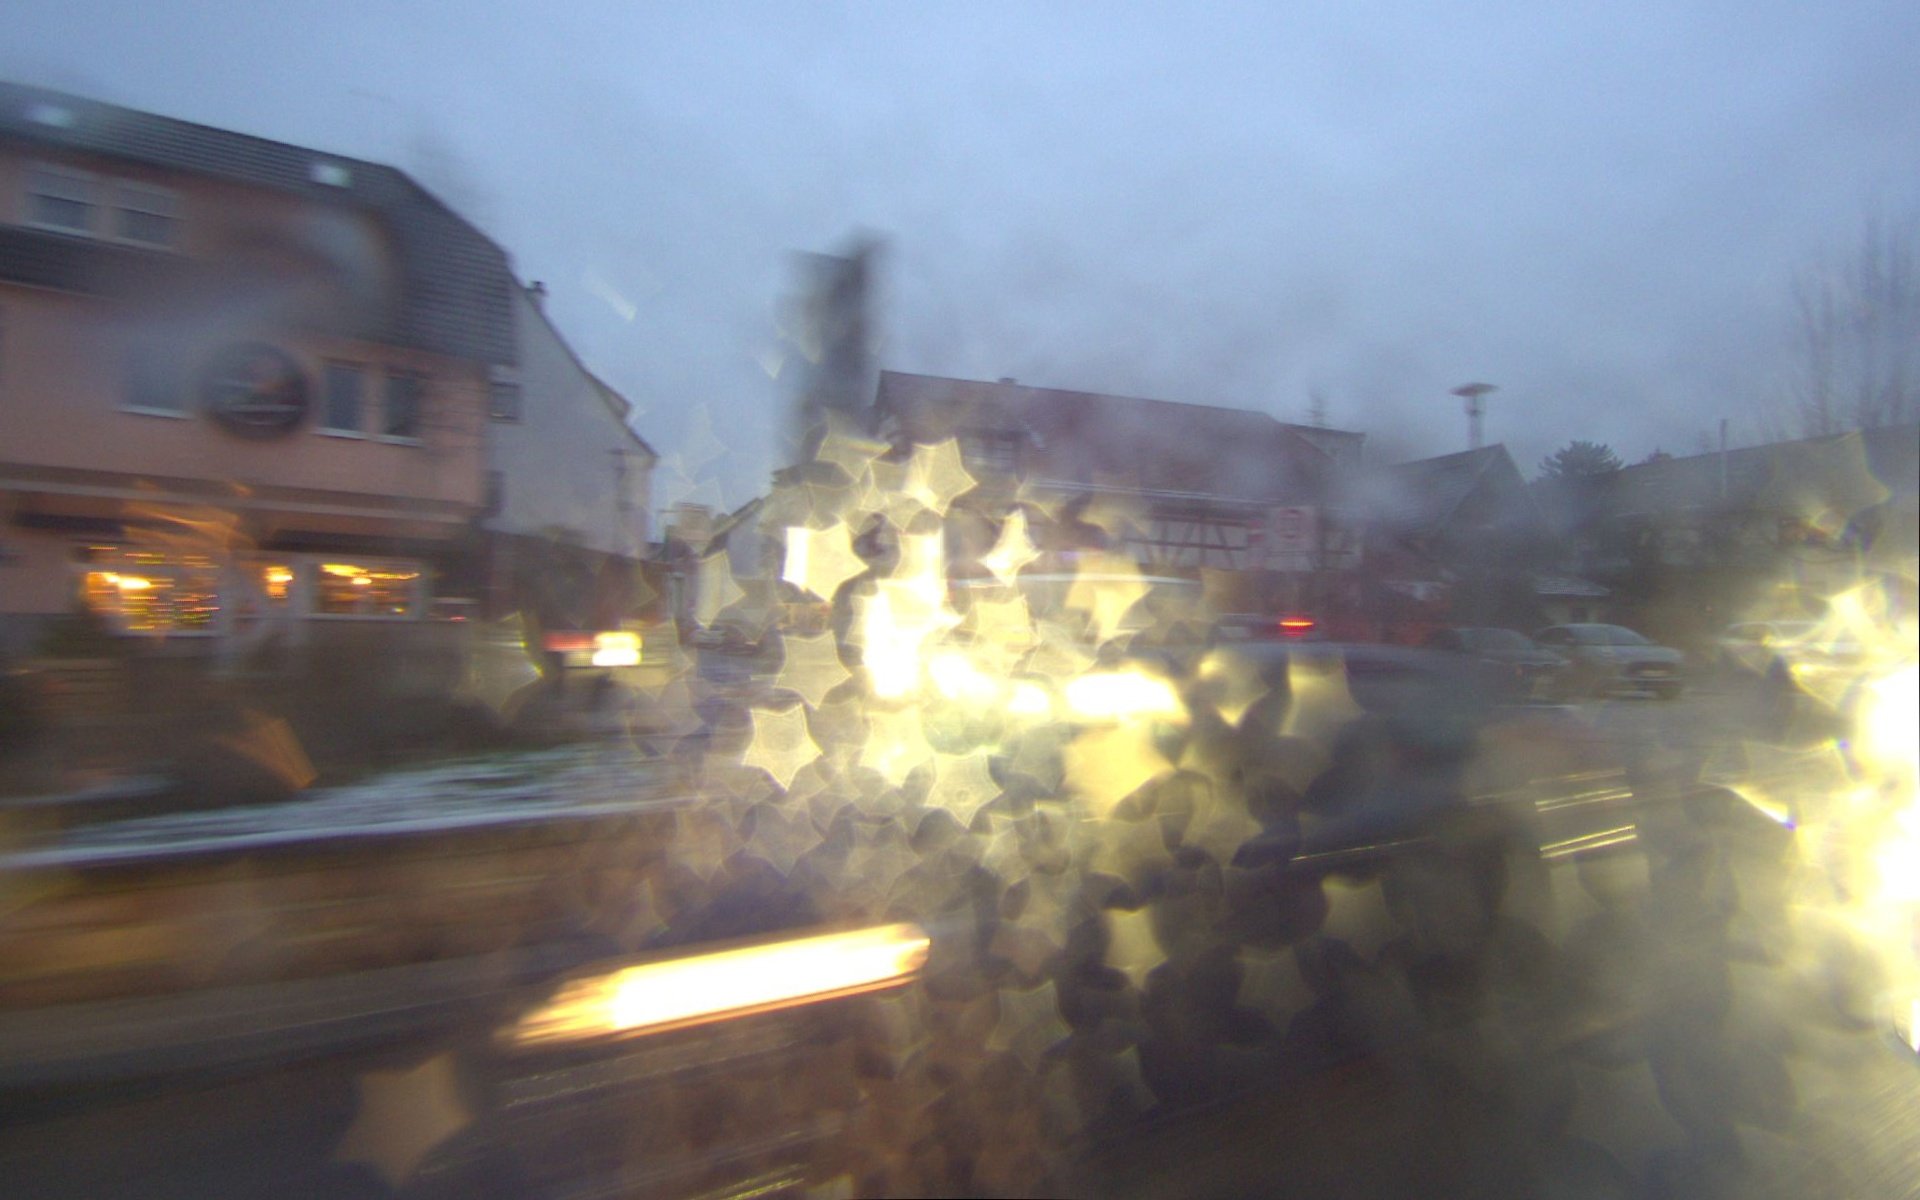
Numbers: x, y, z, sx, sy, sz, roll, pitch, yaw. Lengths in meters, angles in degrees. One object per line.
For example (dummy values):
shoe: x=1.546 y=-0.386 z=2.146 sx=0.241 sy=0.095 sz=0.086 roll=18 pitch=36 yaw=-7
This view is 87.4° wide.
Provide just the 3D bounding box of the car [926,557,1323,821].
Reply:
car: x=1.228 y=0.678 z=10.550 sx=1.957 sy=1.972 sz=5.762 roll=0 pitch=0 yaw=-15

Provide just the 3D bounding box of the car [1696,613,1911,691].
car: x=20.304 y=1.232 z=24.498 sx=1.947 sy=1.675 sz=4.660 roll=1 pitch=-2 yaw=10

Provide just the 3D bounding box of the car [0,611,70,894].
car: x=-7.270 y=1.039 z=6.238 sx=1.728 sy=1.977 sz=4.012 roll=0 pitch=-3 yaw=-29

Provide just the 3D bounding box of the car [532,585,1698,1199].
car: x=0.671 y=0.774 z=3.449 sx=3.793 sy=1.499 sz=1.612 roll=1 pitch=-2 yaw=-30

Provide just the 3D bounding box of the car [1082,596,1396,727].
car: x=3.980 y=0.847 z=15.114 sx=2.128 sy=1.654 sz=4.418 roll=2 pitch=-2 yaw=-28

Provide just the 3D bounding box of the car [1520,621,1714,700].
car: x=13.705 y=1.209 z=21.263 sx=1.722 sy=1.478 sz=4.077 roll=1 pitch=-2 yaw=5

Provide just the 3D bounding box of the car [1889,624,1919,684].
car: x=25.929 y=1.404 z=25.345 sx=1.960 sy=1.550 sz=4.002 roll=0 pitch=-1 yaw=14

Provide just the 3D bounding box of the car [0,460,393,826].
car: x=-4.966 y=0.255 z=6.701 sx=1.976 sy=1.706 sz=3.970 roll=1 pitch=-2 yaw=-29

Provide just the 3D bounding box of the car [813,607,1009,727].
car: x=-0.996 y=1.068 z=16.593 sx=1.969 sy=1.657 sz=4.751 roll=0 pitch=-3 yaw=-19

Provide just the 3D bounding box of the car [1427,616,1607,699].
car: x=10.863 y=1.099 z=19.927 sx=1.727 sy=1.478 sz=3.936 roll=-1 pitch=-2 yaw=6

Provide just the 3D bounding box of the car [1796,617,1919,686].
car: x=23.503 y=1.307 z=25.476 sx=1.686 sy=1.603 sz=4.117 roll=0 pitch=-3 yaw=10
